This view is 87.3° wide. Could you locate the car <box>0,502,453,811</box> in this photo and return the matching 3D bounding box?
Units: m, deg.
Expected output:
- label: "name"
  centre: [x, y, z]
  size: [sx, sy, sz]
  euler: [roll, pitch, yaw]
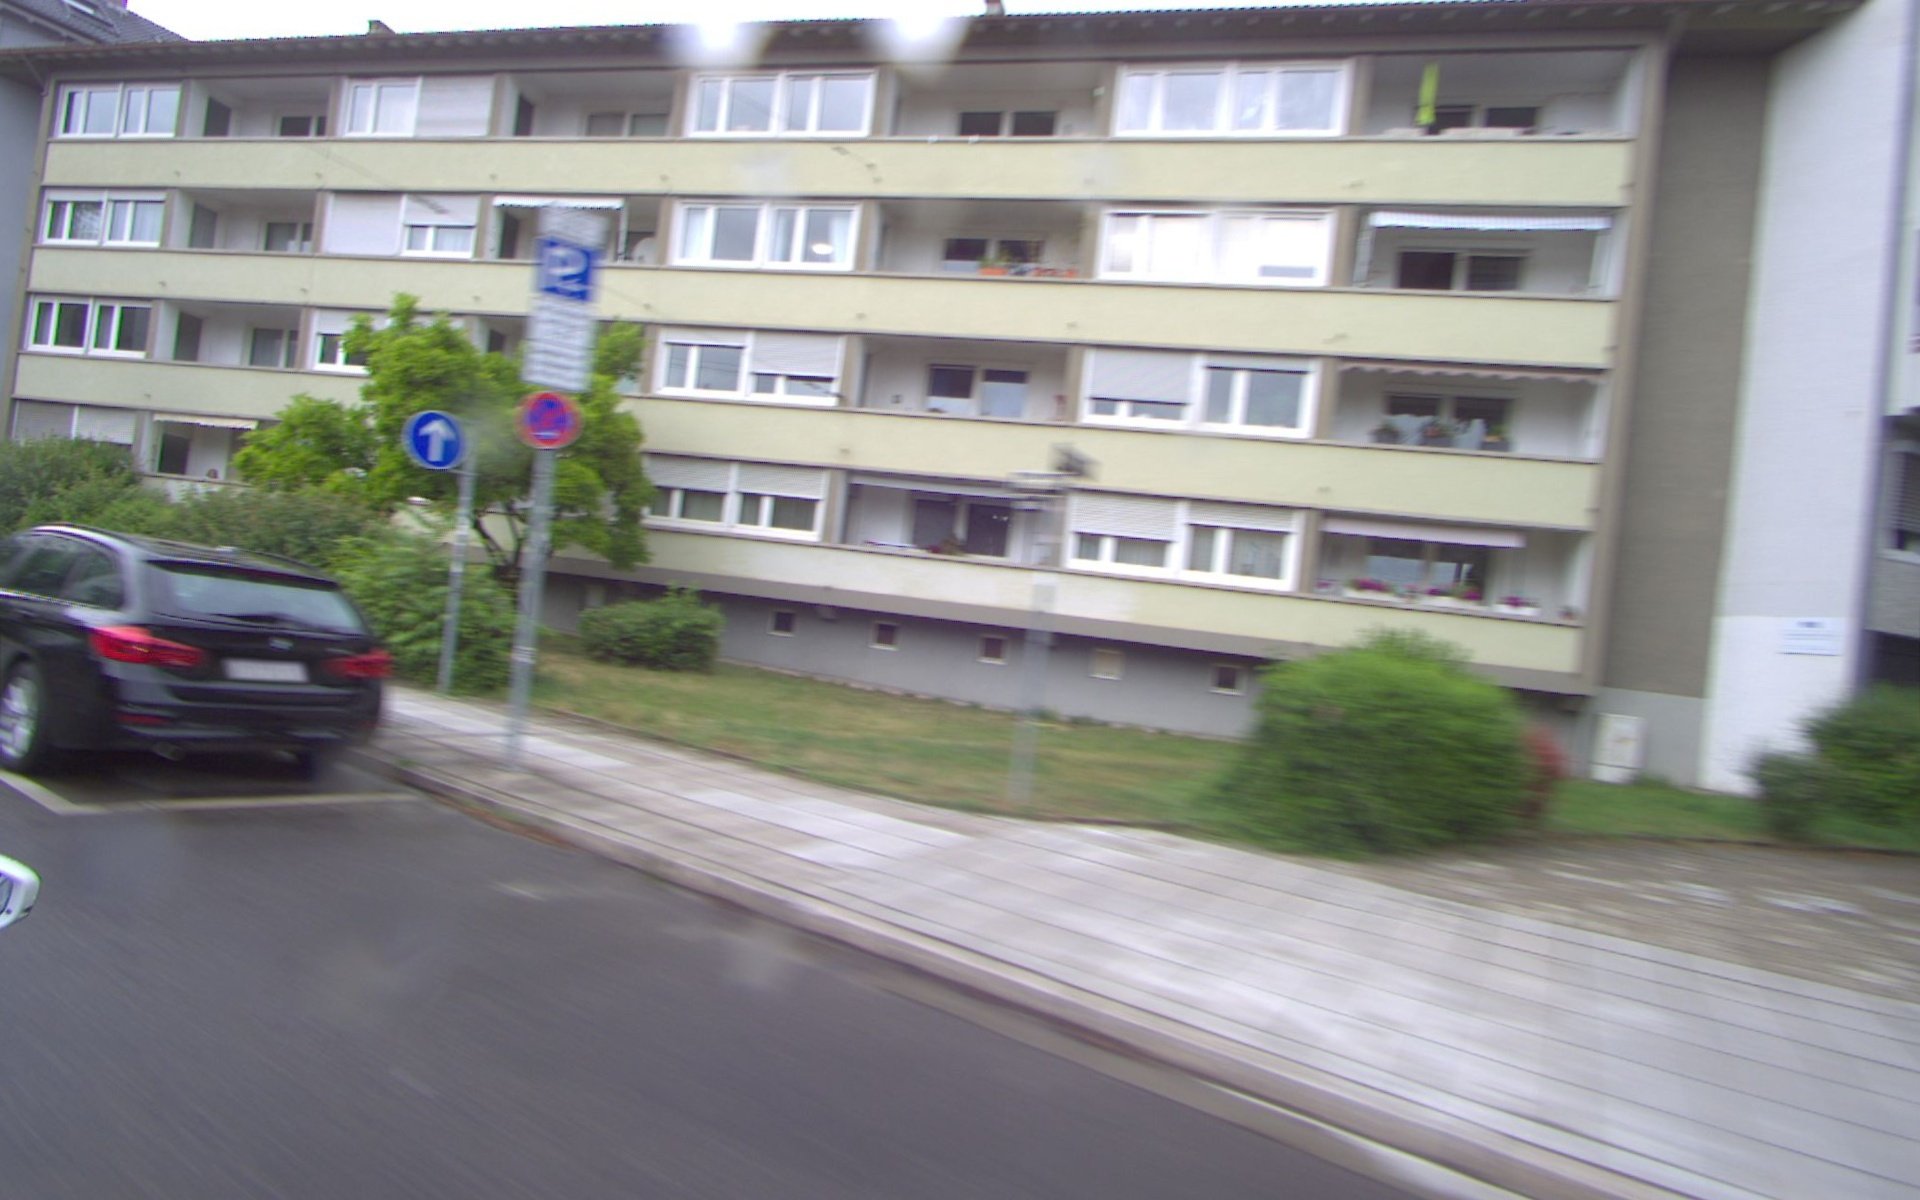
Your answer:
- label: "car"
  centre: [-5.901, 0.204, 7.110]
  size: [4.567, 1.503, 1.862]
  euler: [7, -3, 31]
